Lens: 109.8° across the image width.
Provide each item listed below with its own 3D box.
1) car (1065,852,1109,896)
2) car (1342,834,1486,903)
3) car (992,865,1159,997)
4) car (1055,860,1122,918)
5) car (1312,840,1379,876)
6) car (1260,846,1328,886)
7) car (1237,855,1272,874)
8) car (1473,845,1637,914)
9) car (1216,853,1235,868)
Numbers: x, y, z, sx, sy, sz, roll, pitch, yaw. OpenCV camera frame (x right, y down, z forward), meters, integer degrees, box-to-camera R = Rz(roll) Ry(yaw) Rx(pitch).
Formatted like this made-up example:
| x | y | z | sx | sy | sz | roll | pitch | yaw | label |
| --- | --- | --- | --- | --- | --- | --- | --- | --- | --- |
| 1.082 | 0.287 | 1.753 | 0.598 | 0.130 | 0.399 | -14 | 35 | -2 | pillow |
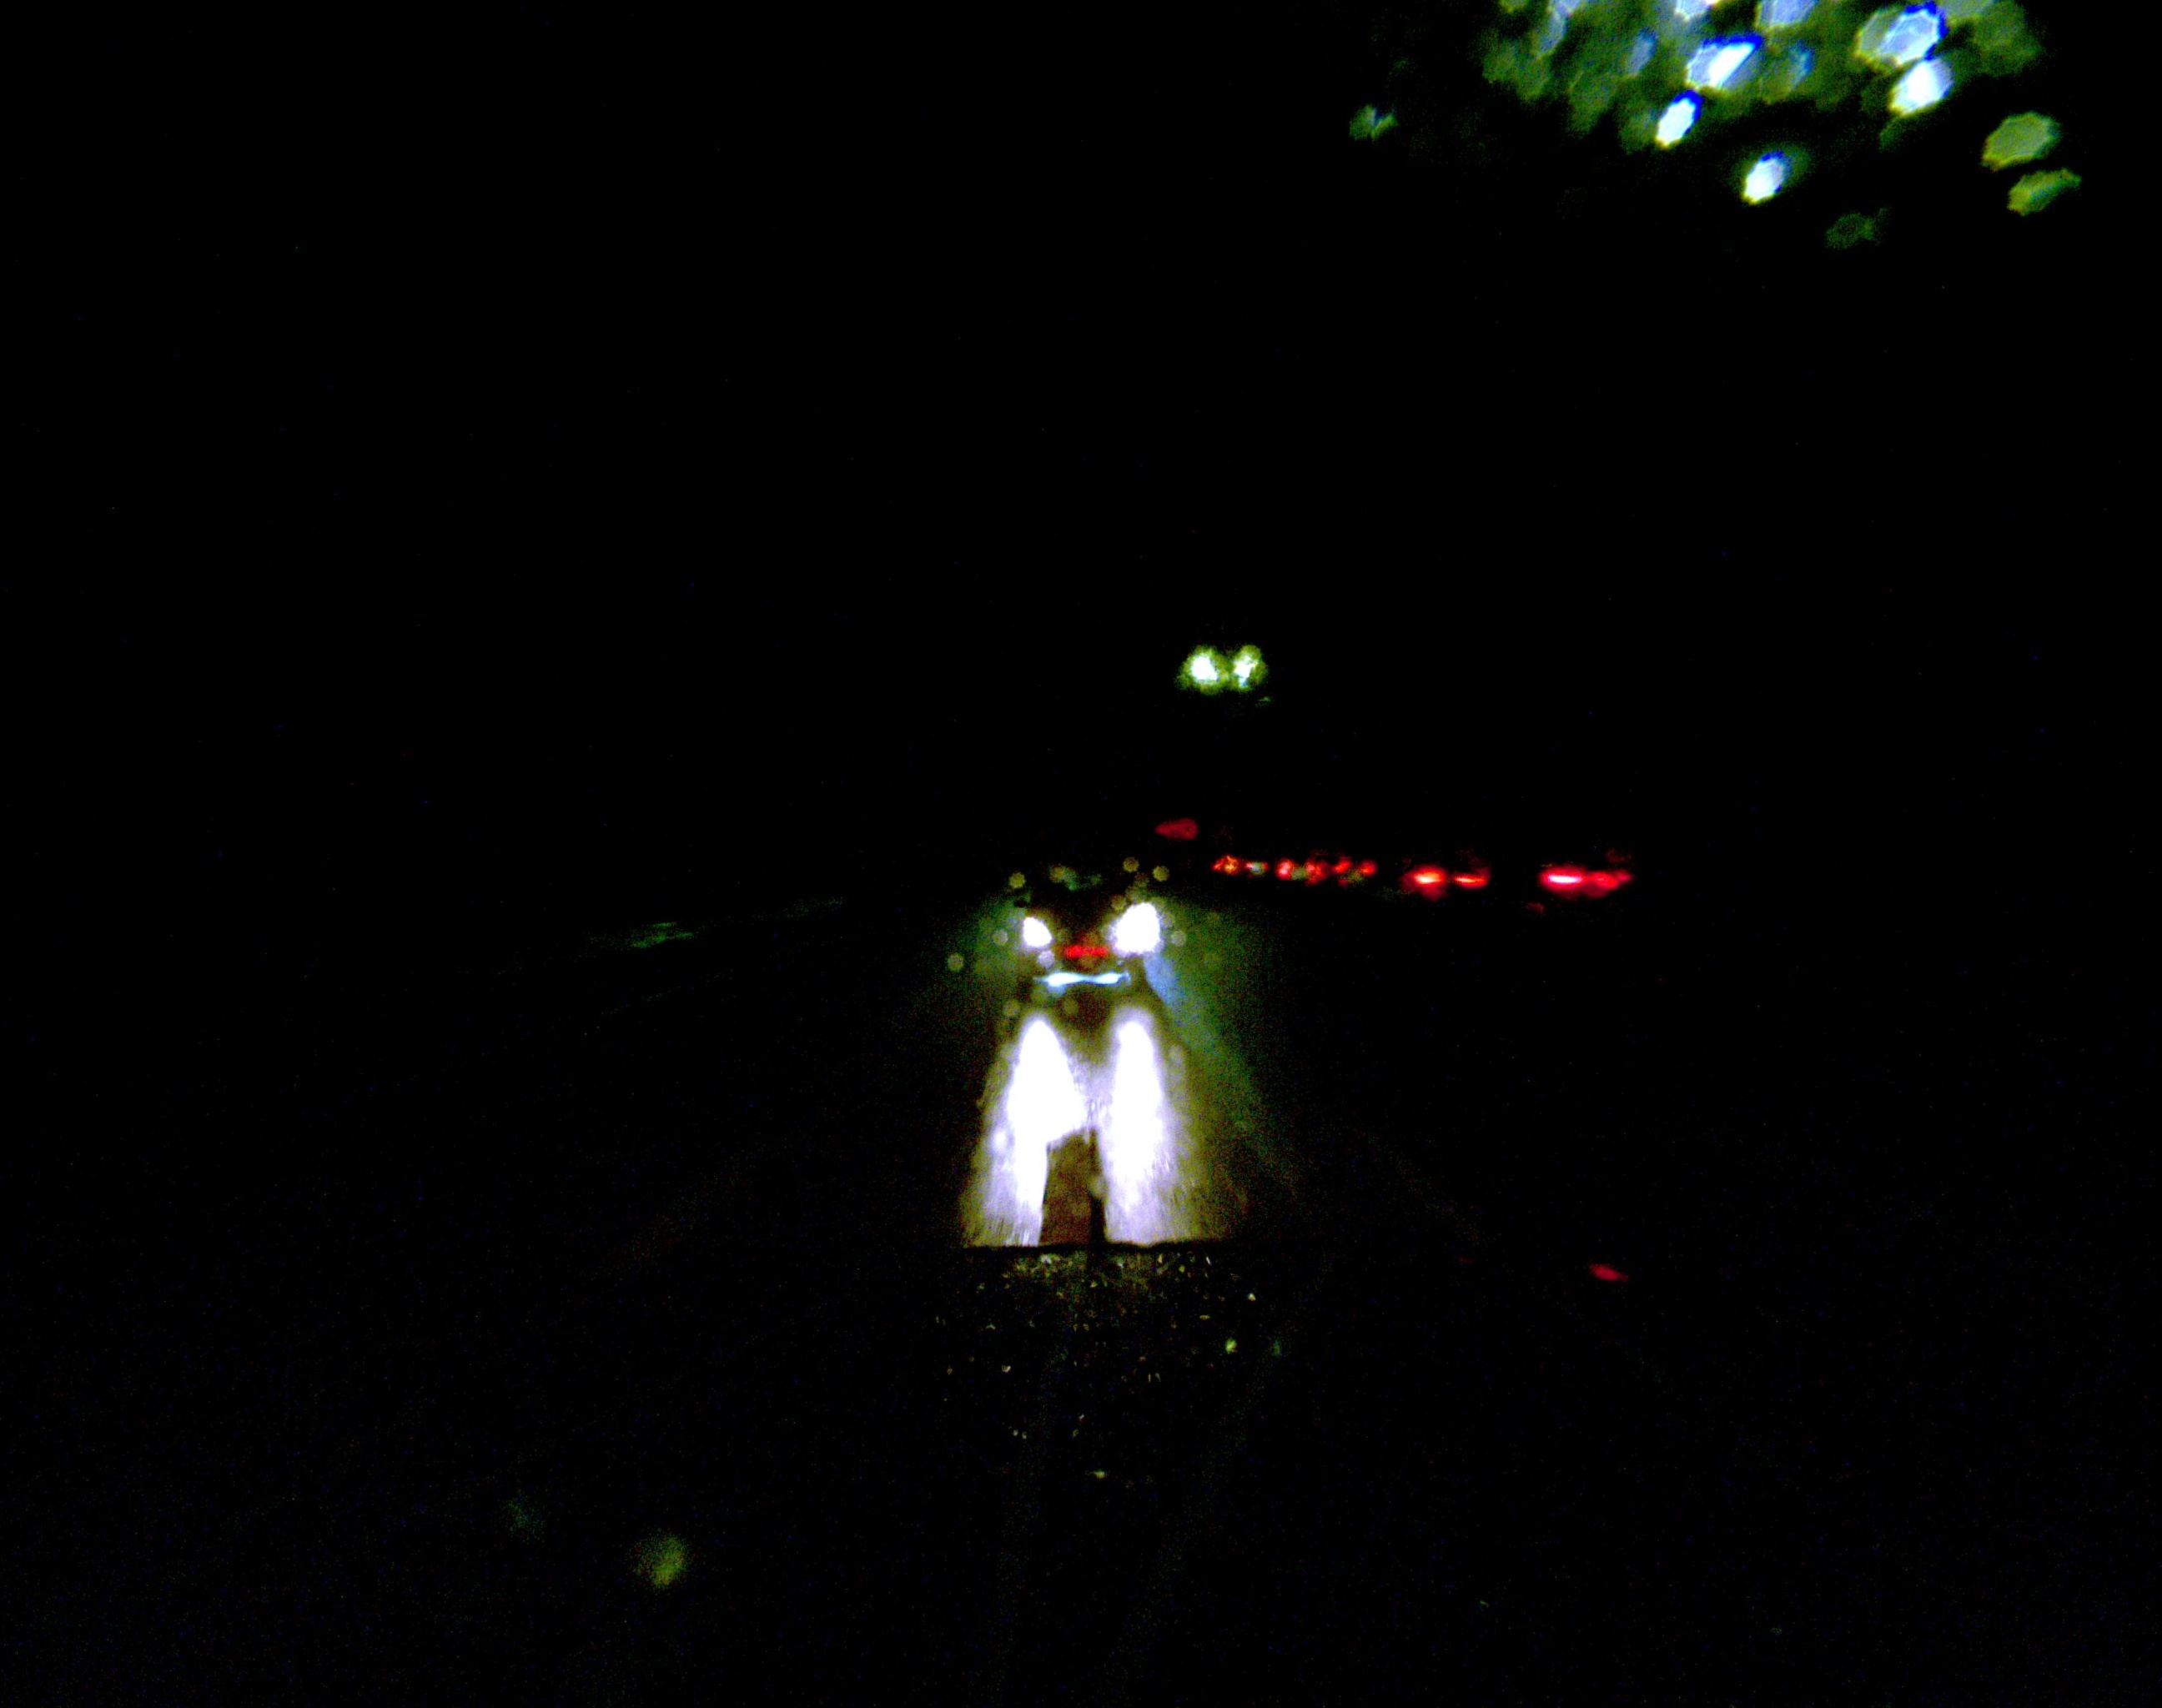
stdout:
| x | y | z | sx | sy | sz | roll | pitch | yaw | label |
| --- | --- | --- | --- | --- | --- | --- | --- | --- | --- |
| 0.210 | 0.851 | 34.261 | 1.784 | 1.696 | 3.998 | -3 | 1 | -1 | car |
| 9.886 | 0.357 | 23.074 | 2.170 | 1.764 | 4.703 | -3 | 1 | -1 | car |
| 0.090 | 0.921 | 10.749 | 1.848 | 1.440 | 4.002 | -3 | -1 | 5 | car |
| 0.319 | 1.018 | 23.717 | 1.849 | 1.441 | 3.875 | -3 | 1 | 3 | car |
| 14.661 | 0.168 | 42.395 | 1.999 | 1.764 | 4.703 | -3 | 1 | -1 | car |
| 10.726 | 0.553 | 38.637 | 1.999 | 1.764 | 4.703 | -3 | 1 | -1 | car |
| 15.949 | 0.933 | 70.158 | 2.028 | 1.494 | 4.895 | -3 | 1 | 0 | car |
| 14.388 | 0.694 | 23.451 | 1.999 | 1.764 | 4.703 | -3 | 1 | -1 | car |
| 17.078 | 0.720 | 89.933 | 1.604 | 1.543 | 3.833 | -3 | 1 | 1 | car |
